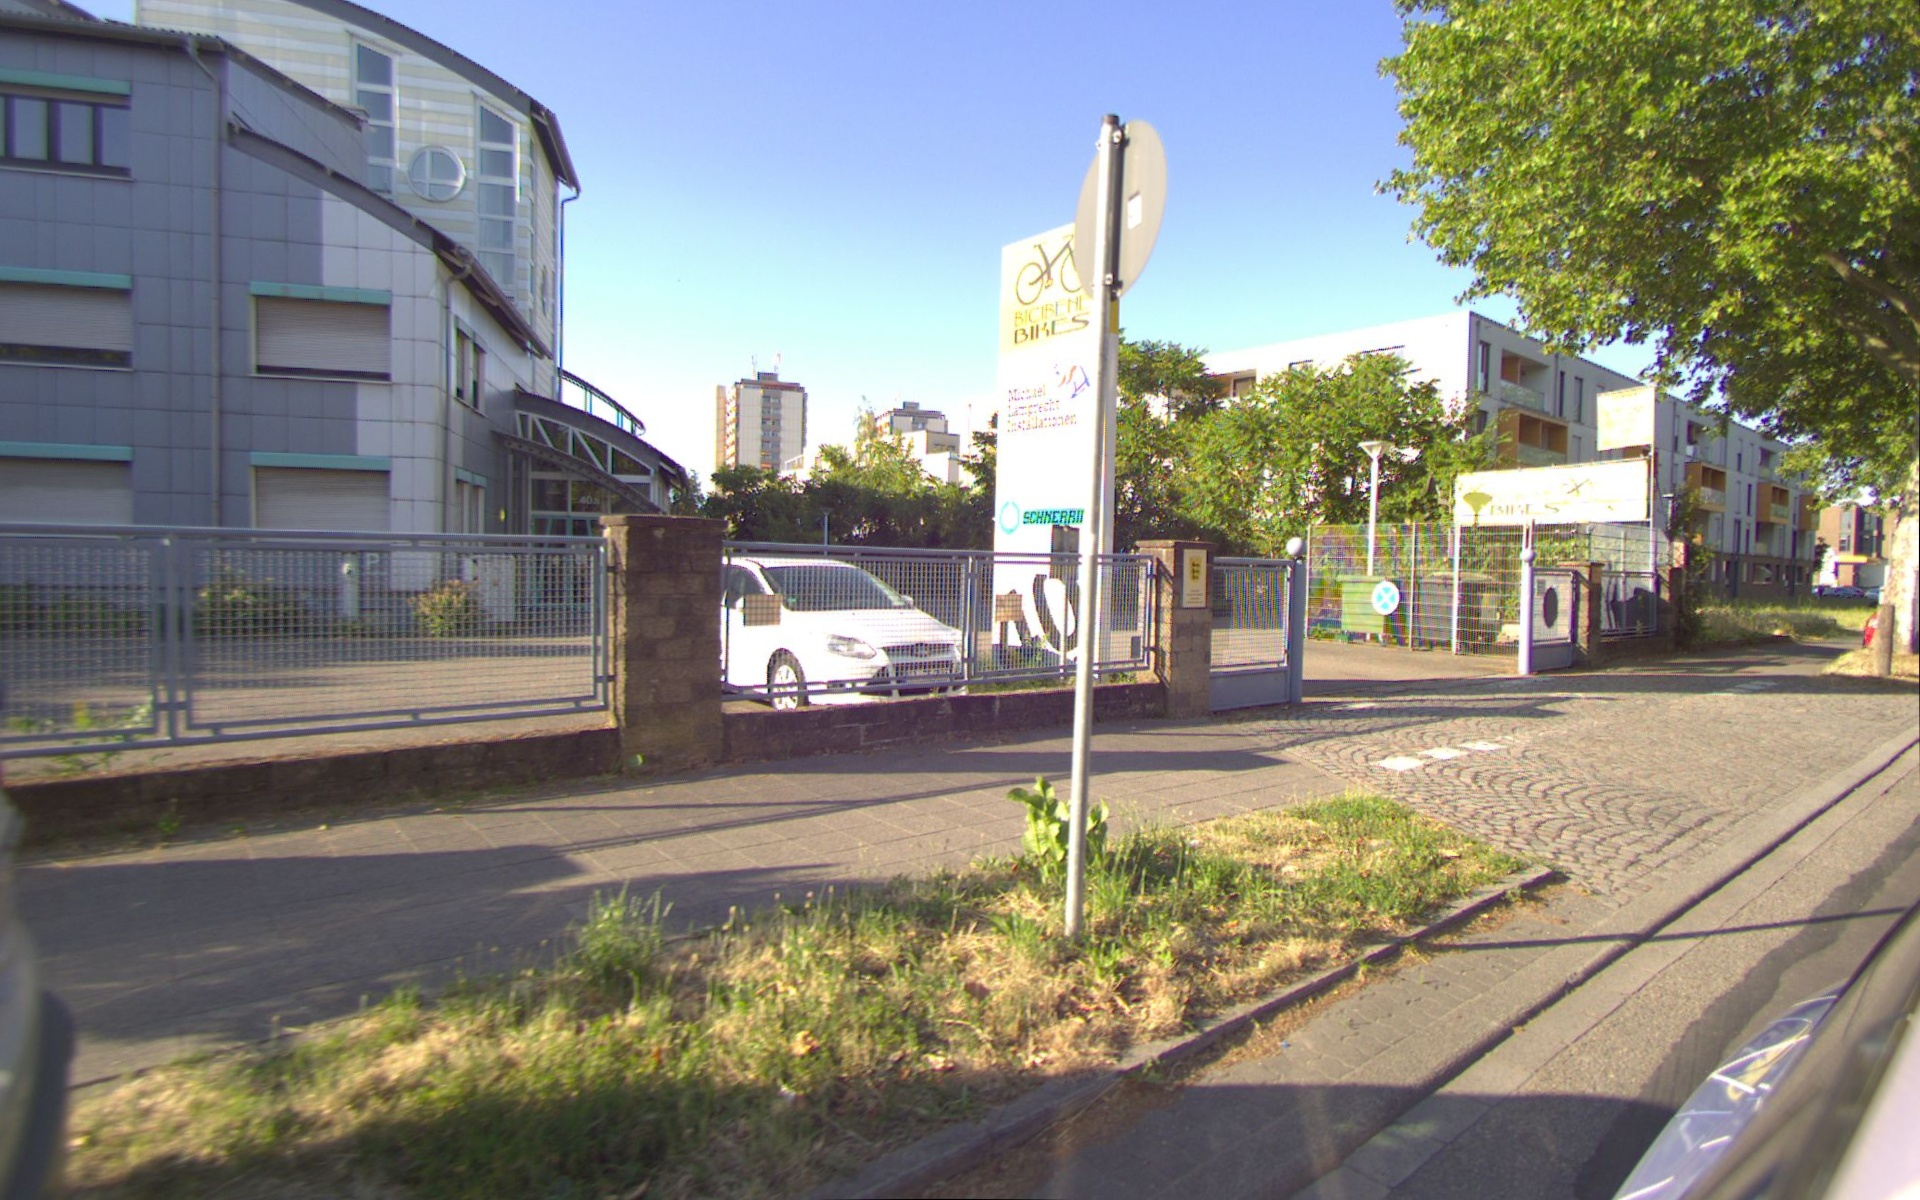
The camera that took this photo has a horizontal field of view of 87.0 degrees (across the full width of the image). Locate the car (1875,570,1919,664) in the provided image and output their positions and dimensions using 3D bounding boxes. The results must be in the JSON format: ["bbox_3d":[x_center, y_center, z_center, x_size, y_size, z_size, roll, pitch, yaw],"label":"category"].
[{"bbox_3d":[19.375,0.323,19.728,4.258,1.710,1.602,0,3,-39],"label":"car"}]

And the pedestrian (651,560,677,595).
[{"bbox_3d":[-15.066,-1.147,51.506,0.993,1.777,0.875,0,1,10],"label":"pedestrian"}]

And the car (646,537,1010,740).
[{"bbox_3d":[-1.488,0.246,10.022,1.808,1.579,3.997,0,1,-38],"label":"car"}]

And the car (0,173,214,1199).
[{"bbox_3d":[-3.352,0.422,0.388,4.831,1.780,1.998,-1,3,-41],"label":"car"}]
